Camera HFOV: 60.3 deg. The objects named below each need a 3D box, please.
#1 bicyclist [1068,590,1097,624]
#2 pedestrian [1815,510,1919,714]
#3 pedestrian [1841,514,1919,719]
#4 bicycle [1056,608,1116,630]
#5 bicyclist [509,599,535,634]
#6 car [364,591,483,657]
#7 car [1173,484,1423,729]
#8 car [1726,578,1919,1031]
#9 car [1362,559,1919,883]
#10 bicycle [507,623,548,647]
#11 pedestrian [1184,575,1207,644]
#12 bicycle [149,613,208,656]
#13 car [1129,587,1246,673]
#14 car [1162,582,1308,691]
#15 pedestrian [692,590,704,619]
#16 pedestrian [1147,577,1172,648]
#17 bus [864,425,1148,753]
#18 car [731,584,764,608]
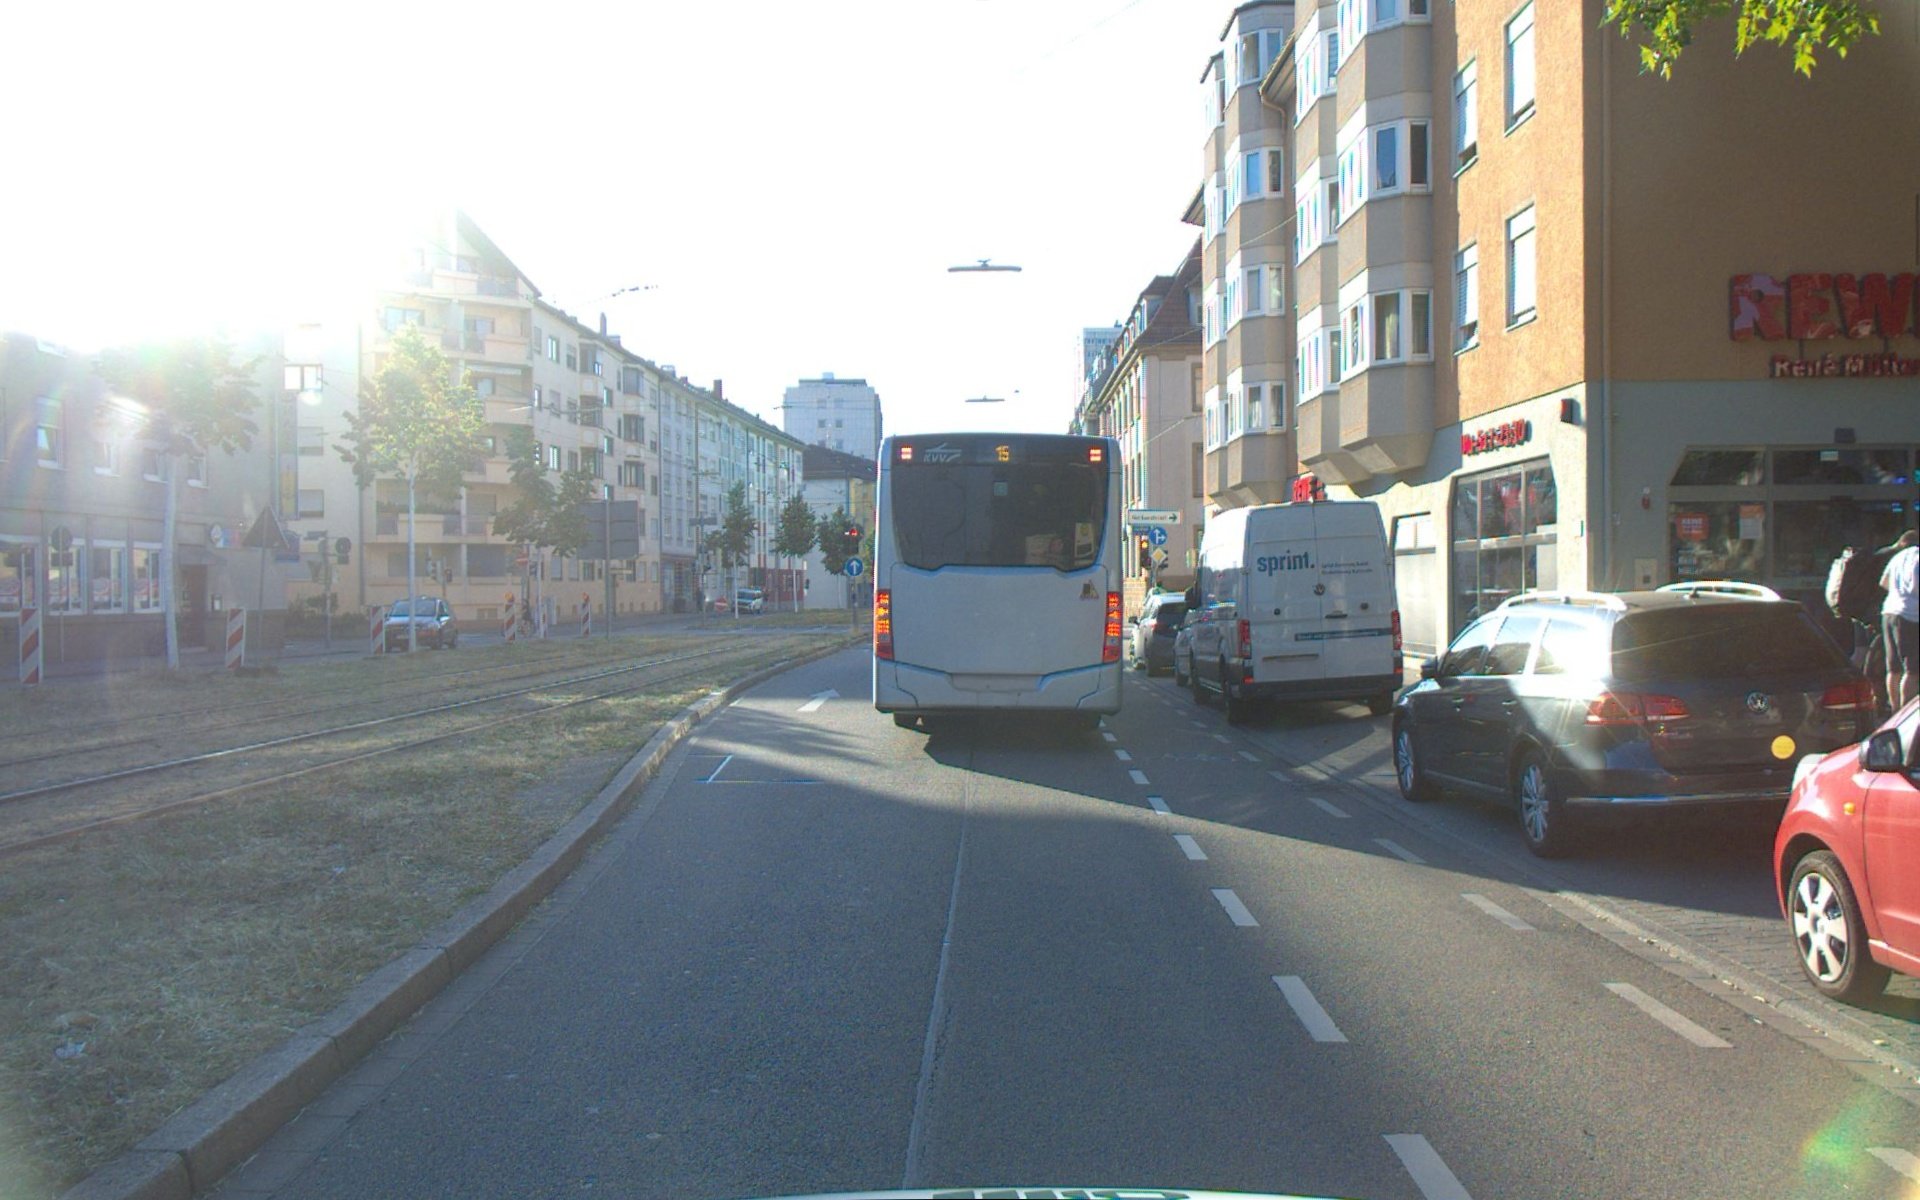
[{"bbox_3d":[4.375,0.240,59.069,0.915,1.181,0.642,-1,0,-10],"label":"bicyclist"},{"bbox_3d":[8.474,0.093,15.162,0.789,1.782,0.769,-4,1,1],"label":"pedestrian"},{"bbox_3d":[8.096,0.113,13.951,0.646,1.664,0.989,-4,1,-6],"label":"pedestrian"},{"bbox_3d":[4.492,0.660,59.106,2.025,0.745,0.761,-1,0,-10],"label":"bicycle"},{"bbox_3d":[-18.887,0.699,71.274,0.518,1.472,0.963,-1,0,31],"label":"bicyclist"},{"bbox_3d":[-16.364,0.691,50.712,1.774,1.586,4.938,-3,3,3],"label":"car"},{"bbox_3d":[4.146,0.059,21.355,1.976,2.595,5.785,-4,0,1],"label":"car"},{"bbox_3d":[3.994,0.674,5.154,1.537,1.520,3.626,-3,0,1],"label":"car"},{"bbox_3d":[4.072,0.614,10.787,1.662,1.557,4.652,-3,0,0],"label":"car"},{"bbox_3d":[-18.687,1.507,71.571,0.518,1.001,1.879,-1,0,31],"label":"bicycle"},{"bbox_3d":[6.315,0.254,44.288,0.535,1.815,0.449,-1,0,1],"label":"pedestrian"},{"bbox_3d":[-21.373,0.934,45.251,0.731,1.134,1.778,-1,0,1],"label":"bicycle"},{"bbox_3d":[4.438,0.554,32.780,1.800,1.563,4.230,-1,0,1],"label":"car"},{"bbox_3d":[4.377,0.543,26.841,1.800,1.616,3.786,-1,0,1],"label":"car"},{"bbox_3d":[-18.637,0.334,117.629,0.770,2.049,0.890,-1,0,-2],"label":"pedestrian"},{"bbox_3d":[5.120,0.319,42.552,0.536,1.815,0.449,-1,0,-4],"label":"pedestrian"},{"bbox_3d":[0.535,-0.125,20.251,2.682,3.109,8.855,1,0,1],"label":"bus"},{"bbox_3d":[-16.291,-0.310,126.985,1.774,1.829,4.246,-1,0,2],"label":"car"}]
